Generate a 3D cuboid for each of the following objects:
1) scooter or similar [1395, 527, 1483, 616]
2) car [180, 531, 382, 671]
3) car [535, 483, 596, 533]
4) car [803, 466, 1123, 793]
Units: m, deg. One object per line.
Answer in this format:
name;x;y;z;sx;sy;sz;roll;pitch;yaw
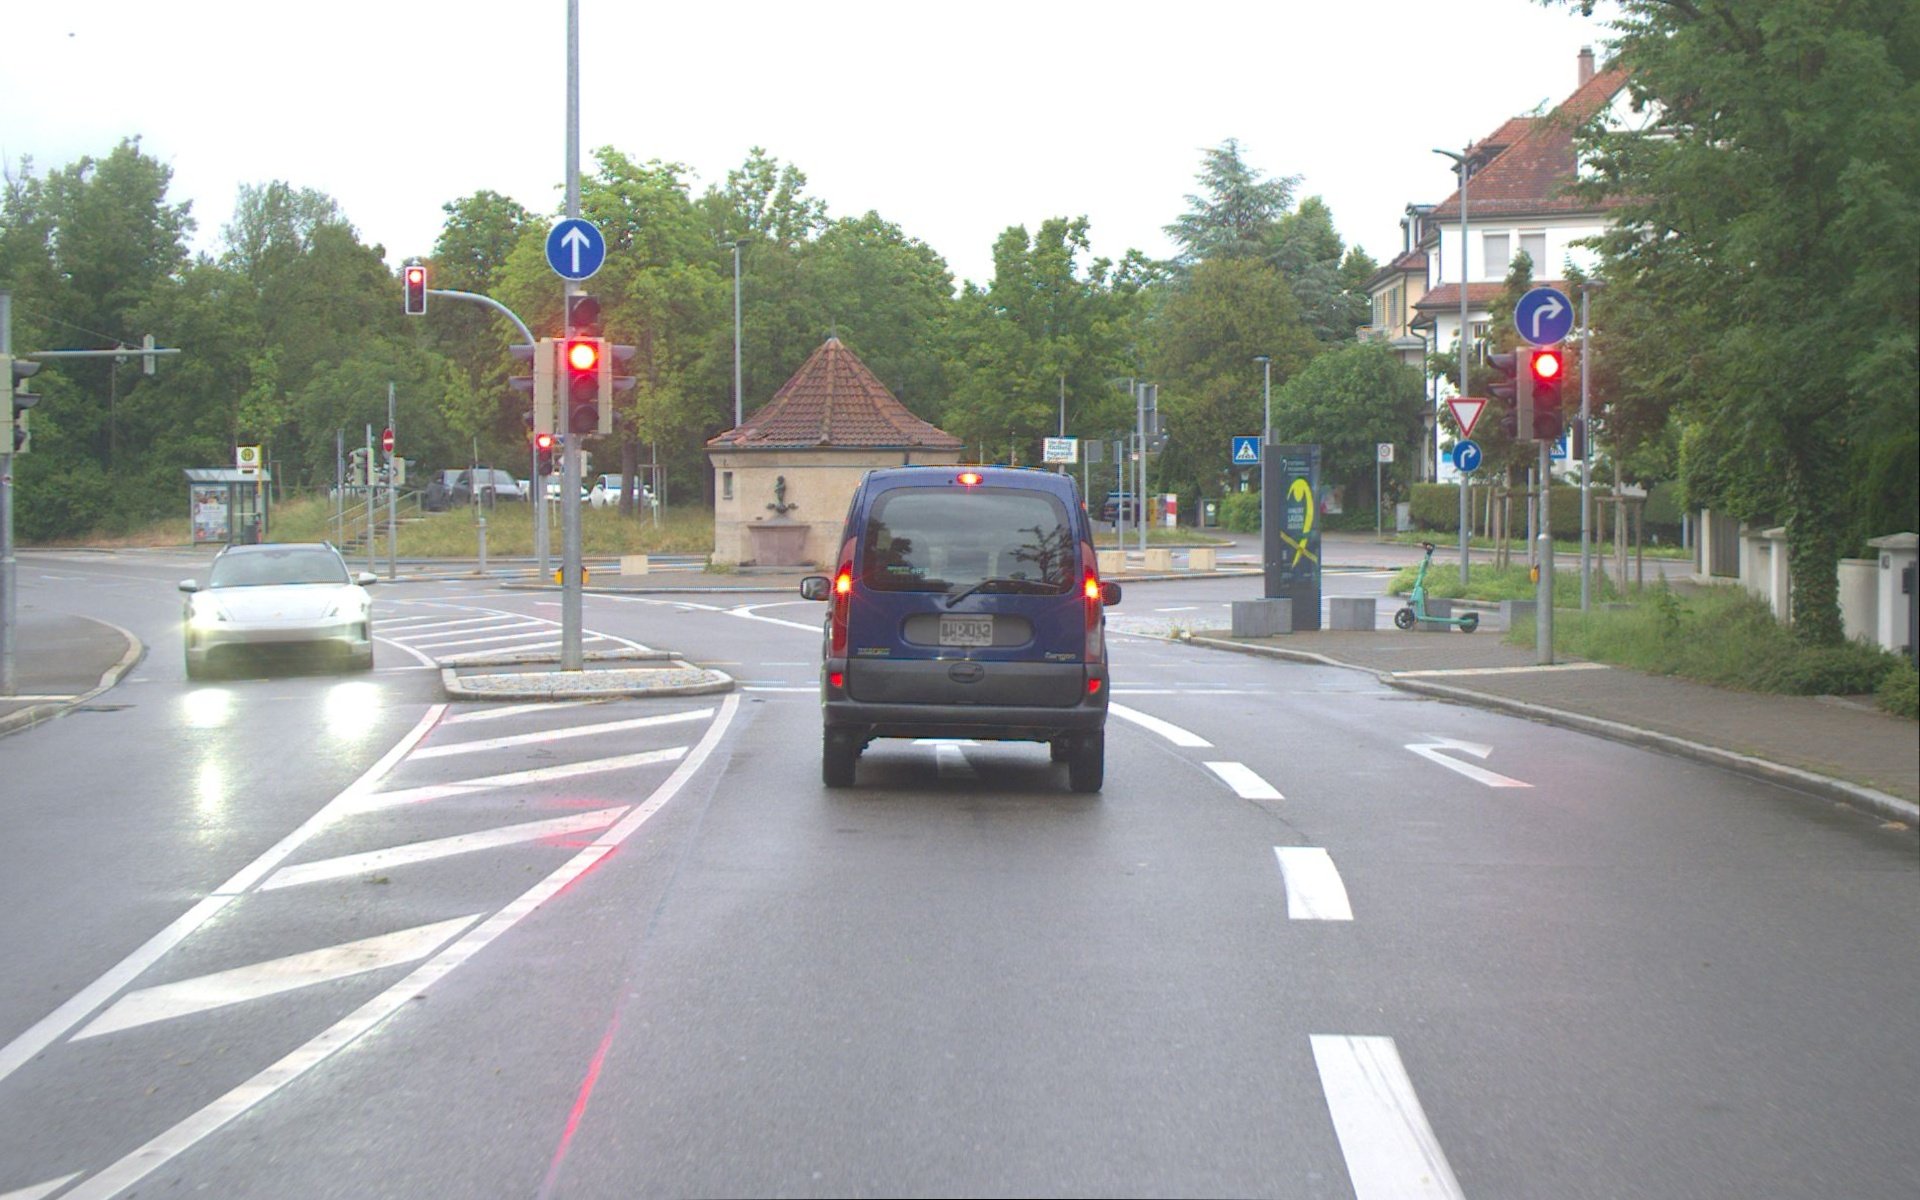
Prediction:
scooter or similar;6.599;-0.390;47.342;1.149;1.214;0.406;0;0;-1
car;-7.453;-0.035;37.830;1.993;1.307;4.361;-3;2;-11
car;-14.810;-3.432;129.204;1.993;1.806;4.000;0;1;-3
car;-0.072;0.107;20.823;1.731;1.780;4.001;1;2;-3
